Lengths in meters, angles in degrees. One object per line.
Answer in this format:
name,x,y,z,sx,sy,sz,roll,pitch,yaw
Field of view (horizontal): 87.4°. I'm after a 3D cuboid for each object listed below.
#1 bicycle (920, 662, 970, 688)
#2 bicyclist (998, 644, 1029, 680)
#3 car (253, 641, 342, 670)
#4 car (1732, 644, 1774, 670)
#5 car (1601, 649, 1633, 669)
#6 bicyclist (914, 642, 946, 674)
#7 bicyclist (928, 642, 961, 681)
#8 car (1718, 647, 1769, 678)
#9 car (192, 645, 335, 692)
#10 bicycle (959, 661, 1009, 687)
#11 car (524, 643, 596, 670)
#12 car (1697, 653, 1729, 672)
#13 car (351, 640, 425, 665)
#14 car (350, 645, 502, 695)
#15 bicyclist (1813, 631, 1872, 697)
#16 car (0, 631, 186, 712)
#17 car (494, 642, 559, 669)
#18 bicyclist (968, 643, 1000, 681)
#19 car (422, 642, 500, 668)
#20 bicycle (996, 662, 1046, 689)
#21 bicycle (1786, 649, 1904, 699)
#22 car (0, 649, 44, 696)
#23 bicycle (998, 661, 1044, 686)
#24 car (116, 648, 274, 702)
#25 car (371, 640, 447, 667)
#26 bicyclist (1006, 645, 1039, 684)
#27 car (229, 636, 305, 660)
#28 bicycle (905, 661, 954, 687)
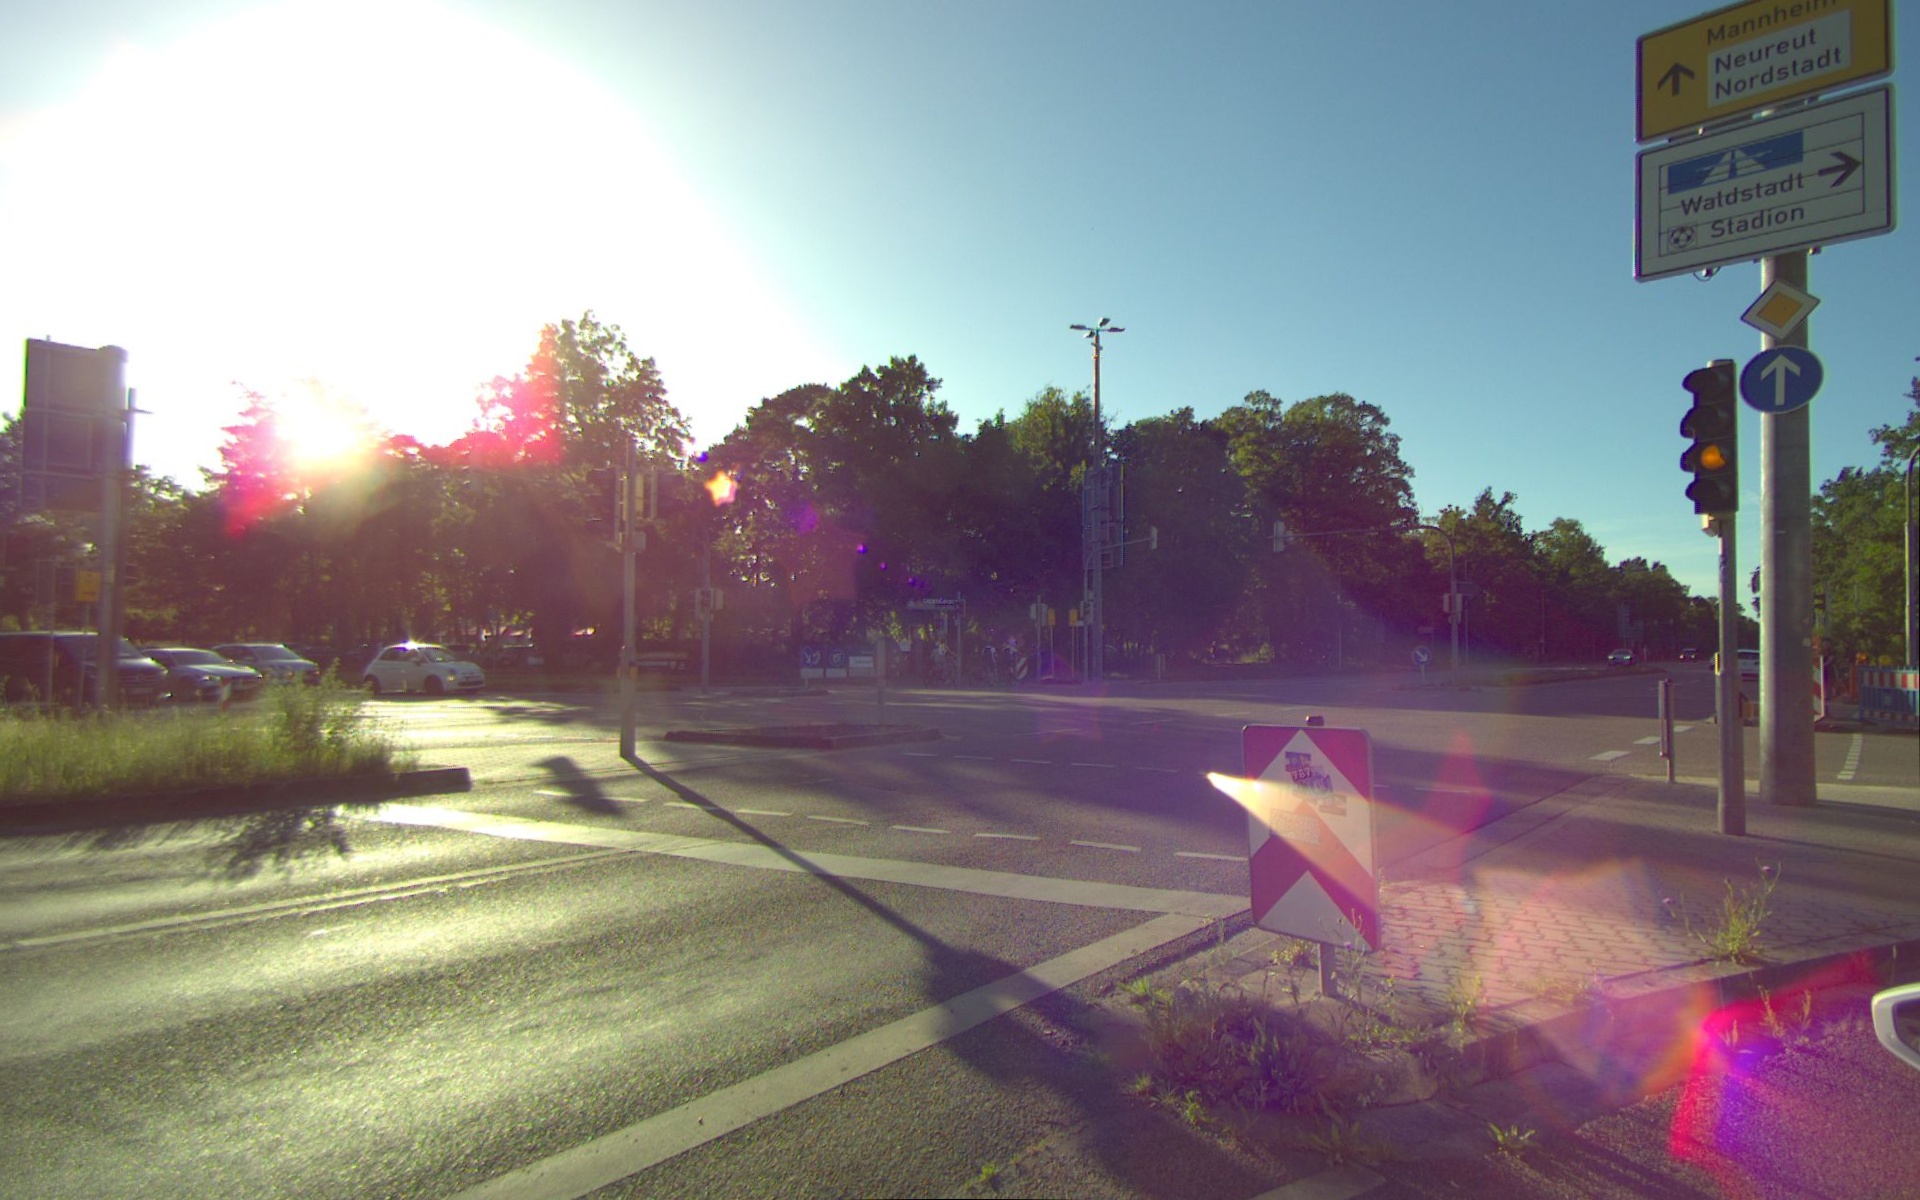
bicycle,-0.553,2.784,37.553,1.898,0.926,0.708,3,-3,-44
bicyclist,2.040,2.354,38.480,0.984,1.359,0.708,3,-3,-44
car,-39.152,3.241,59.455,1.907,1.640,3.996,-1,-3,27
car,49.455,3.558,62.655,1.969,1.556,3.983,-2,-3,39
car,63.595,5.686,97.197,1.971,1.812,4.228,-2,-3,41
bicyclist,-1.144,2.202,38.259,0.984,1.208,0.708,3,-3,-44
bicyclist,-0.577,2.294,37.550,0.984,1.408,0.704,3,-3,-44
car,38.663,3.042,49.540,1.917,1.433,3.983,-2,-3,39
car,-22.279,2.157,32.174,3.724,1.407,1.855,0,-3,18
bicycle,0.904,2.744,37.302,1.898,0.926,0.708,3,-3,-44
car,-24.747,3.475,62.286,1.778,1.620,4.197,0,-2,20
car,64.132,5.300,85.546,1.843,1.463,3.978,-1,-3,43
car,-38.852,3.535,68.296,1.782,1.620,3.964,-1,-3,30
car,-15.946,2.051,30.039,3.724,1.407,1.929,0,-3,18
bicyclist,27.013,1.933,30.764,0.995,1.955,0.969,1,-1,11
car,-21.957,1.719,24.901,4.835,1.853,1.929,0,-3,18
car,-27.161,3.484,63.033,1.778,1.620,3.502,0,-2,21
bicyclist,0.905,2.305,37.314,0.984,1.373,0.708,3,-3,-44
car,-31.920,3.515,64.335,1.782,1.620,4.143,-1,-3,30
bicycle,2.190,2.689,35.954,1.898,0.926,0.708,3,-3,-44
bicycle,27.043,2.254,30.742,2.586,1.401,0.969,1,-1,11
car,-30.648,2.225,31.023,3.724,1.407,1.855,0,-3,18
bicycle,2.365,2.816,38.781,1.898,0.926,0.708,3,-3,-44
car,-21.334,2.050,28.023,3.724,1.407,1.649,0,-3,18
car,-35.502,3.430,64.802,1.782,1.620,3.964,-1,-3,30
bicyclist,2.237,2.292,36.007,0.984,1.356,0.708,3,-3,-44
car,-47.830,3.291,69.399,1.782,1.620,3.964,-1,-3,30
bicycle,-1.147,2.802,38.235,1.898,0.926,0.708,2,-2,-44
